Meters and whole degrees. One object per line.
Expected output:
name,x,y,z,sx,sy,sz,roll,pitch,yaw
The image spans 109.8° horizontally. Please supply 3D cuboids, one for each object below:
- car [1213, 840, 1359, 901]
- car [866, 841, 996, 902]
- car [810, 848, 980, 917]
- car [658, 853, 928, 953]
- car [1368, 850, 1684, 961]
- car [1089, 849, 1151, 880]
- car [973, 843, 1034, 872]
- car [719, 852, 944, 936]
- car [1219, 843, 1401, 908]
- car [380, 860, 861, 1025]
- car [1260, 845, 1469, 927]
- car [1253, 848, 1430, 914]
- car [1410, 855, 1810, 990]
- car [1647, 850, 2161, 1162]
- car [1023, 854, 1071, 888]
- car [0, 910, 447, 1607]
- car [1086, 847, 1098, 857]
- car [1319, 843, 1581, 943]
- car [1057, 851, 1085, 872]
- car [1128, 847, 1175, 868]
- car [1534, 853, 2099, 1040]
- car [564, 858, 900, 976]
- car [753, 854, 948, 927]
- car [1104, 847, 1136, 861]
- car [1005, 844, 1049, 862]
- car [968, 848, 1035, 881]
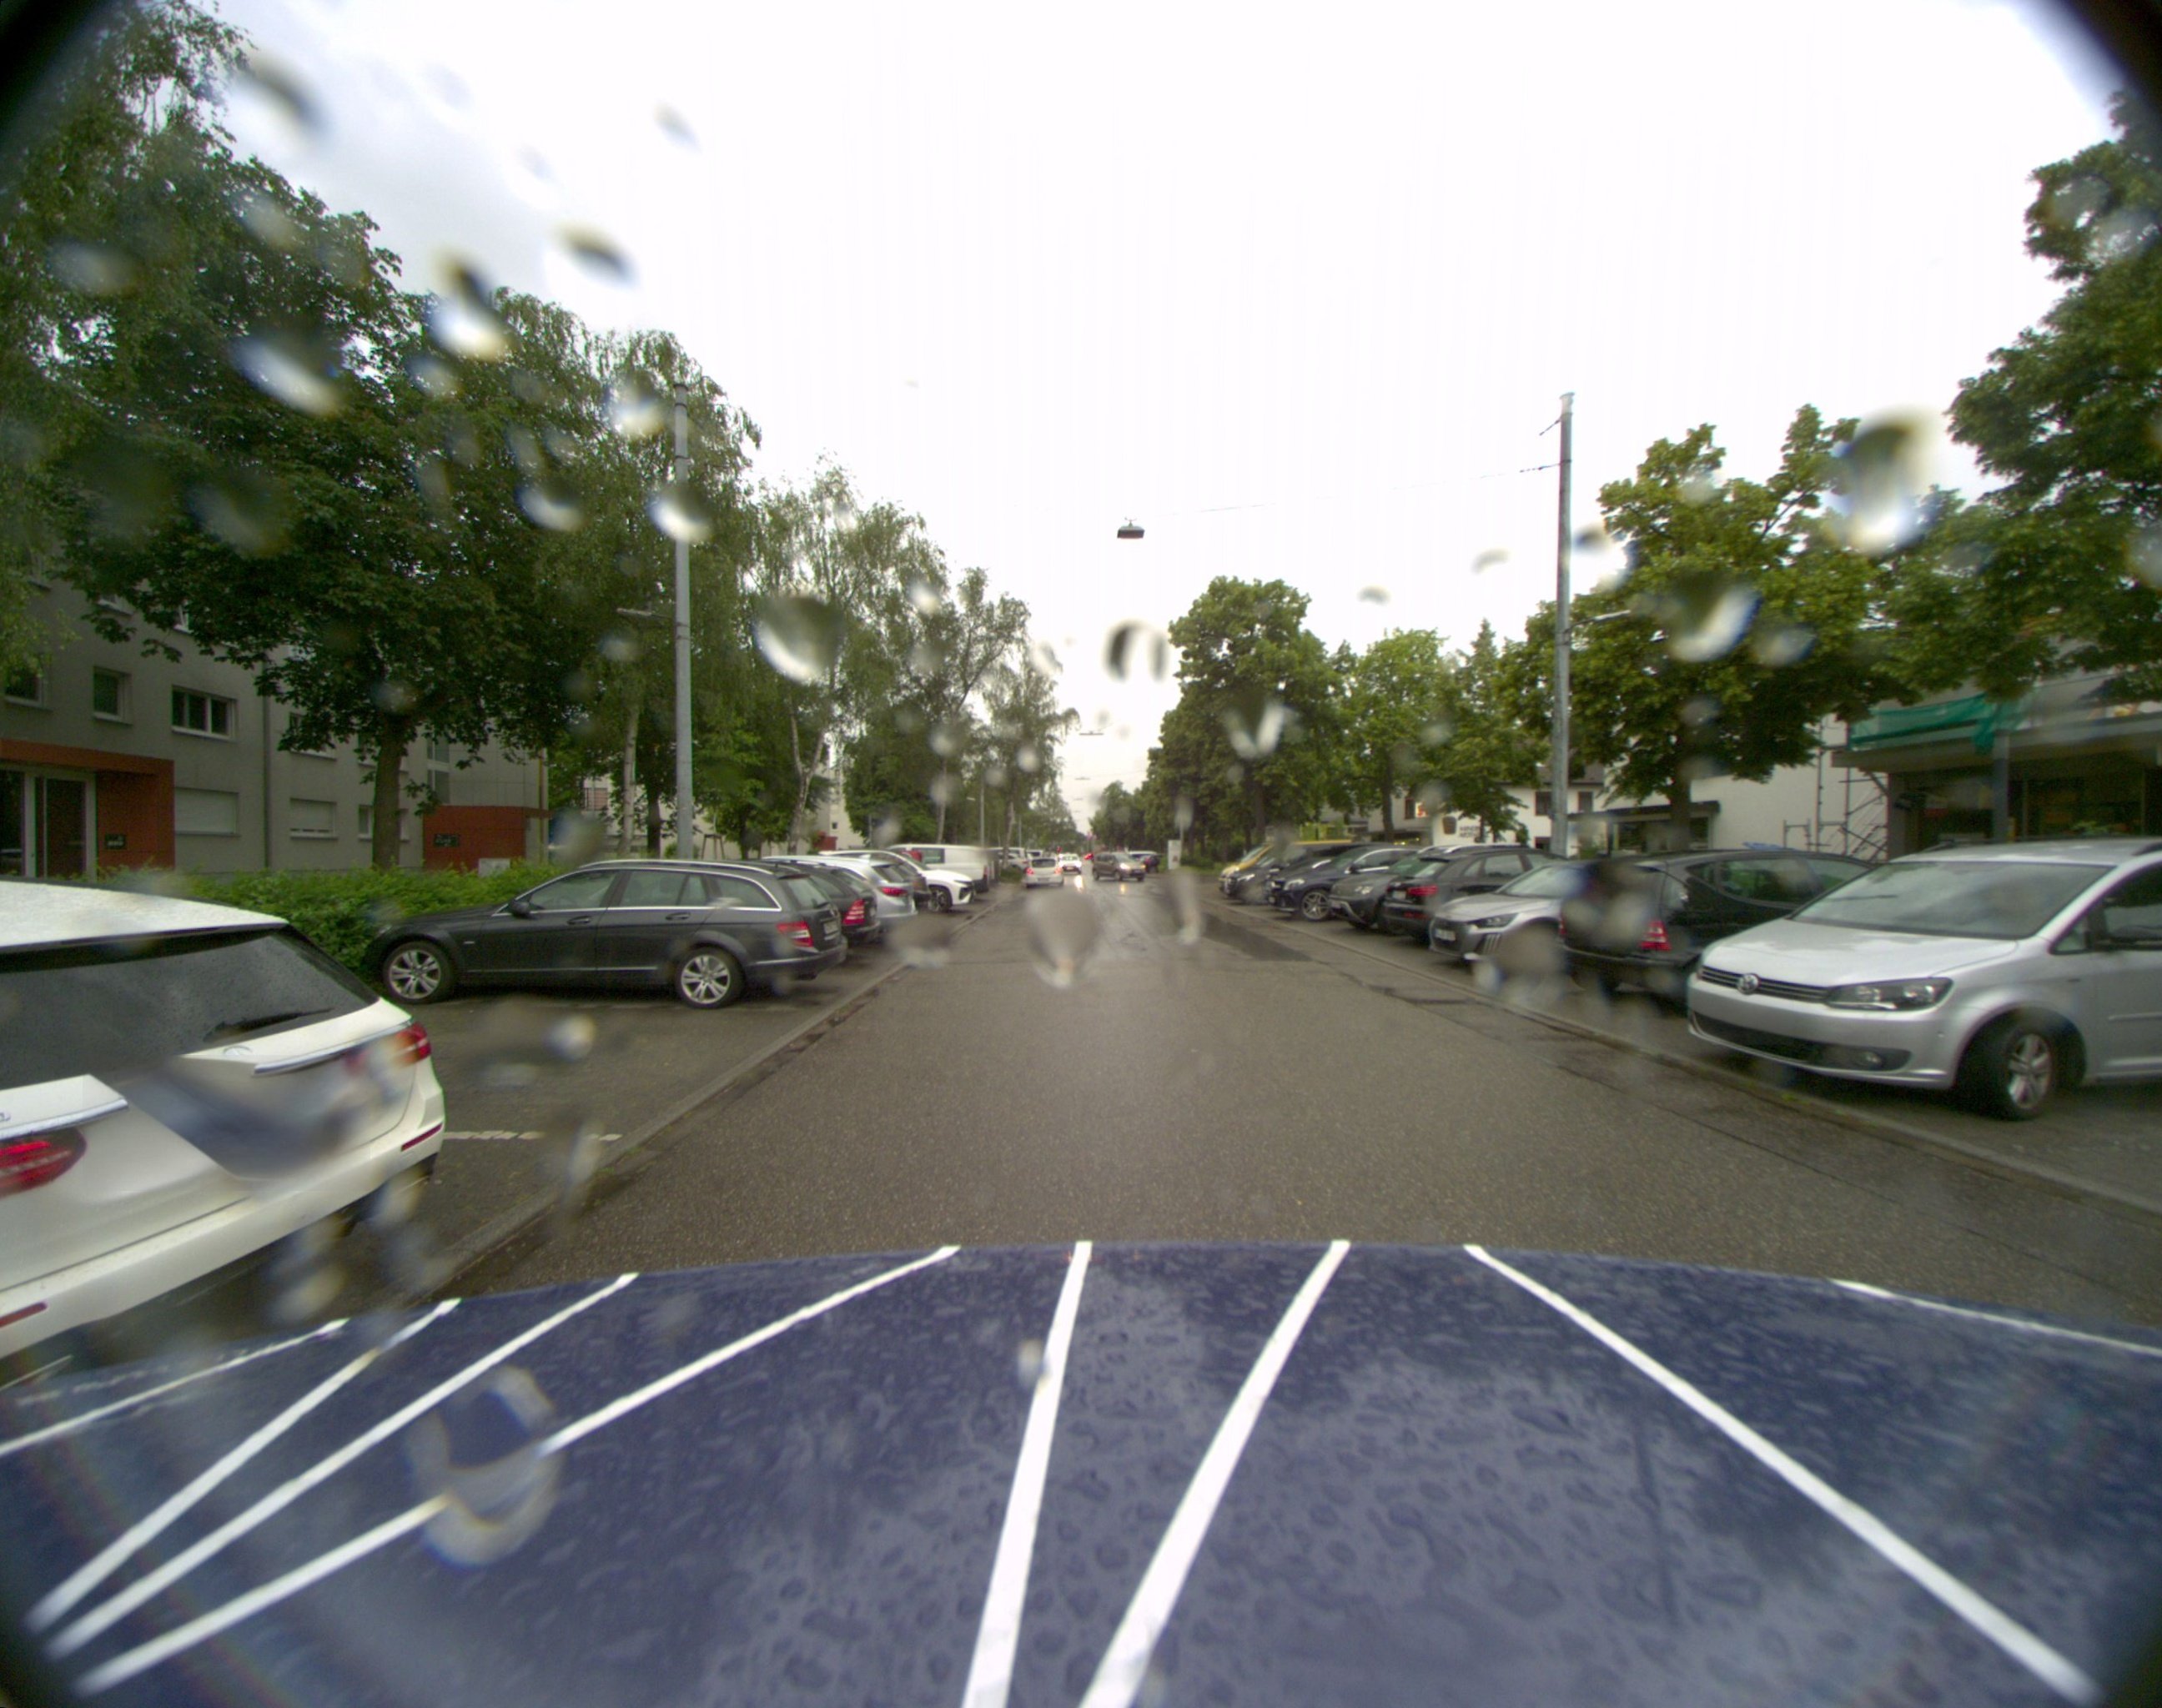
car,7.185,0.552,26.922,4.657,1.947,1.715,-2,1,-2
car,-5.090,0.571,26.189,4.182,1.856,1.679,3,1,-6
car,-5.035,0.742,20.902,4.179,1.609,1.680,3,1,1
car,-4.873,0.810,13.272,4.049,1.488,1.680,2,1,-3
car,7.267,0.794,12.680,4.283,1.586,1.715,-2,1,-2
car,2.250,0.587,44.803,1.843,1.677,3.991,-3,1,-27
car,-5.490,0.228,54.166,3.995,1.902,1.902,-2,1,4
car,-5.007,0.785,15.644,4.049,1.488,1.680,2,1,-3
car,7.115,0.635,23.862,5.177,1.789,1.715,-2,1,-2
car,-4.629,0.868,8.124,4.049,1.431,1.680,2,1,-3
car,6.590,0.709,17.947,4.283,1.717,1.715,-2,1,-2
car,7.139,0.721,21.089,4.283,1.617,1.715,-2,1,-2
car,6.985,0.848,10.317,4.283,1.523,1.715,-2,1,-2
car,6.629,0.850,5.202,4.283,1.625,1.715,-2,1,-2
car,-1.707,0.784,36.944,2.000,1.446,4.254,-2,1,-6
car,-4.749,0.917,2.063,4.623,1.431,1.680,2,1,0
car,1.988,-0.404,140.344,1.999,1.617,3.999,-2,1,-1
car,7.084,0.709,14.859,4.283,1.717,1.715,-2,1,-2
car,-0.828,0.565,59.121,1.734,1.519,4.136,-1,1,-7
car,6.354,0.325,68.733,3.998,1.675,1.999,-2,1,-3
car,7.253,0.838,7.772,4.283,1.556,1.635,-2,1,-2
car,-4.854,0.857,11.002,4.049,1.431,1.680,2,1,-3
car,-5.306,0.818,17.865,4.049,1.488,1.680,2,1,-3
car,5.201,-0.033,101.616,3.998,1.675,1.999,-2,1,-3
car,-5.288,-0.121,75.036,3.995,1.670,1.902,-2,1,4
car,-5.112,0.670,49.304,3.995,1.902,1.902,-2,1,4
